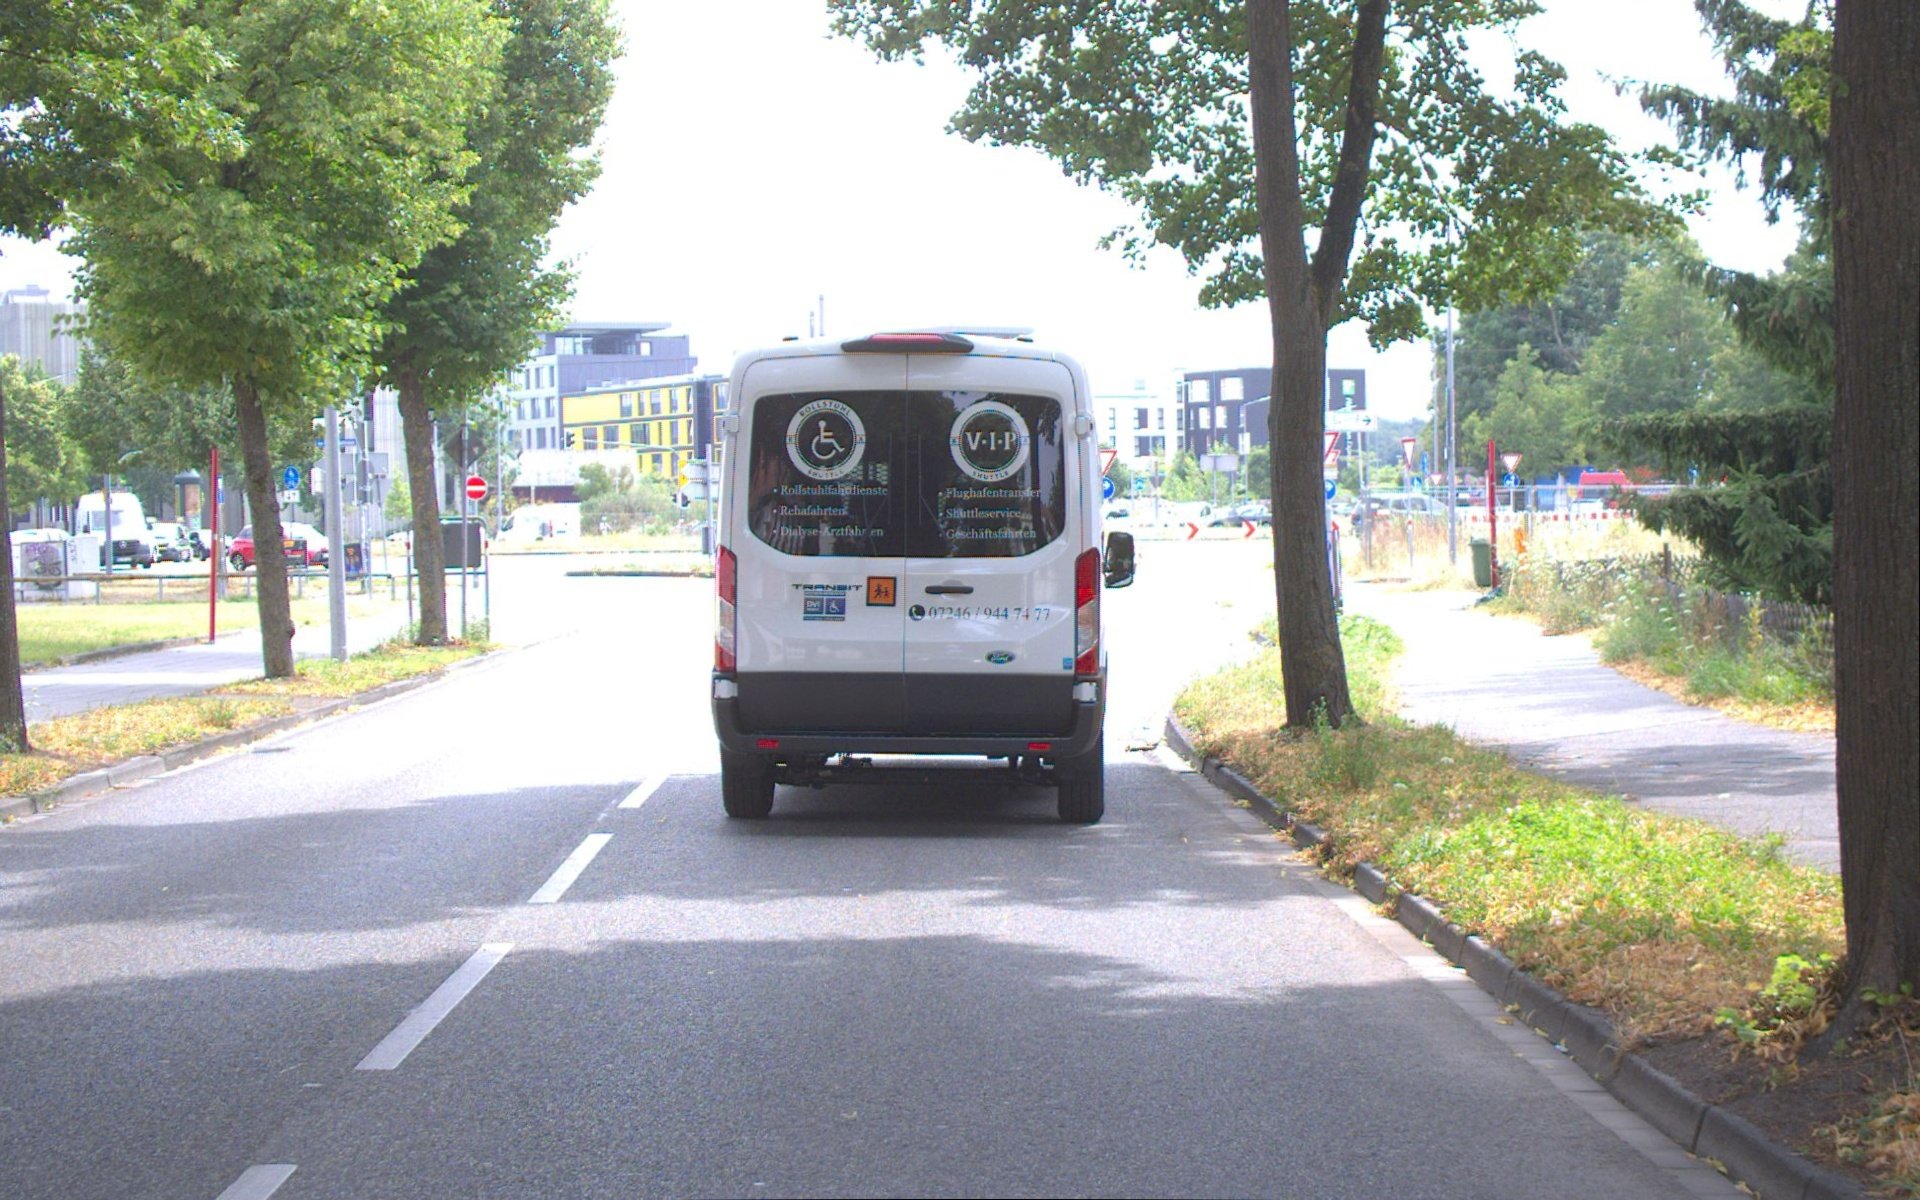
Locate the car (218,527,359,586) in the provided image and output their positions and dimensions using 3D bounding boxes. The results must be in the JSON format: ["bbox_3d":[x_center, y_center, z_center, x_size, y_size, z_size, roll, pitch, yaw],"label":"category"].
[{"bbox_3d":[-21.271,-1.385,108.901,3.992,1.656,1.888,-2,1,25],"label":"car"}]

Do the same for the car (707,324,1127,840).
[{"bbox_3d":[-0.292,-0.125,18.901,2.062,2.531,4.001,0,1,-2],"label":"car"}]

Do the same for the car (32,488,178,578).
[{"bbox_3d":[-29.523,-2.300,118.595,2.612,2.841,5.673,-4,2,-39],"label":"car"}]

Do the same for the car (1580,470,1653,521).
[{"bbox_3d":[25.162,-4.013,131.654,2.008,1.810,4.408,-2,1,20],"label":"car"}]
